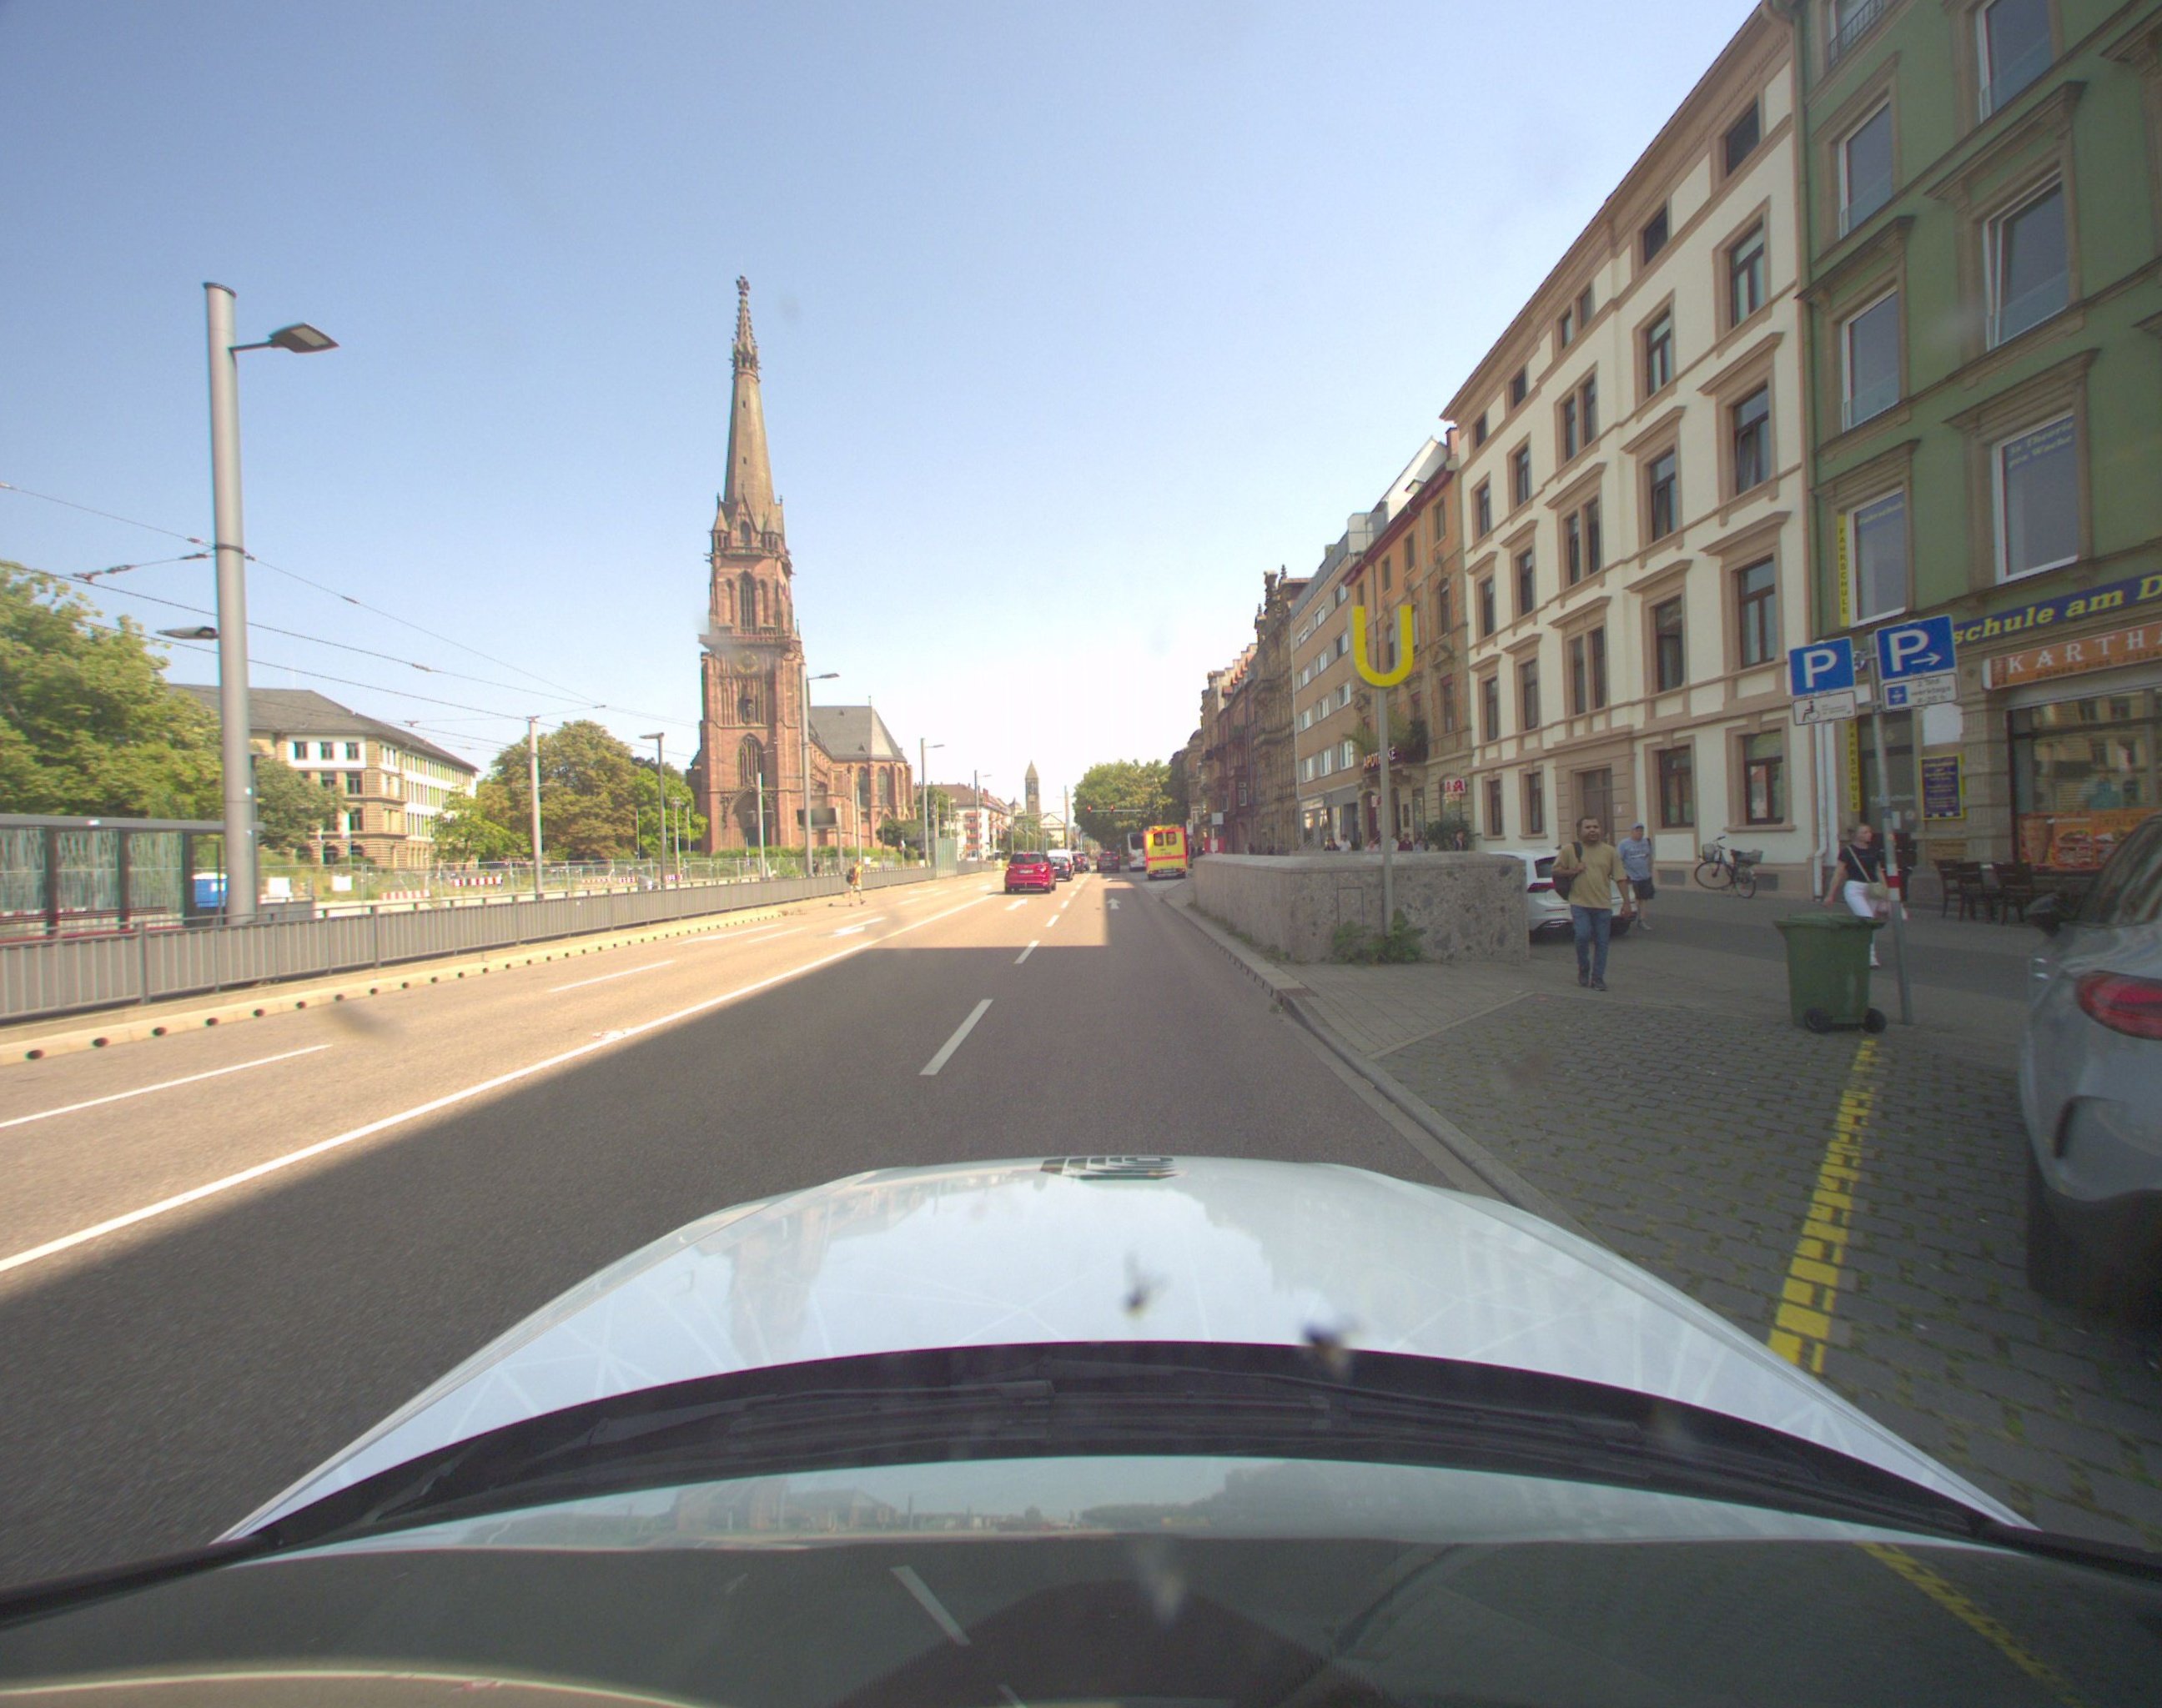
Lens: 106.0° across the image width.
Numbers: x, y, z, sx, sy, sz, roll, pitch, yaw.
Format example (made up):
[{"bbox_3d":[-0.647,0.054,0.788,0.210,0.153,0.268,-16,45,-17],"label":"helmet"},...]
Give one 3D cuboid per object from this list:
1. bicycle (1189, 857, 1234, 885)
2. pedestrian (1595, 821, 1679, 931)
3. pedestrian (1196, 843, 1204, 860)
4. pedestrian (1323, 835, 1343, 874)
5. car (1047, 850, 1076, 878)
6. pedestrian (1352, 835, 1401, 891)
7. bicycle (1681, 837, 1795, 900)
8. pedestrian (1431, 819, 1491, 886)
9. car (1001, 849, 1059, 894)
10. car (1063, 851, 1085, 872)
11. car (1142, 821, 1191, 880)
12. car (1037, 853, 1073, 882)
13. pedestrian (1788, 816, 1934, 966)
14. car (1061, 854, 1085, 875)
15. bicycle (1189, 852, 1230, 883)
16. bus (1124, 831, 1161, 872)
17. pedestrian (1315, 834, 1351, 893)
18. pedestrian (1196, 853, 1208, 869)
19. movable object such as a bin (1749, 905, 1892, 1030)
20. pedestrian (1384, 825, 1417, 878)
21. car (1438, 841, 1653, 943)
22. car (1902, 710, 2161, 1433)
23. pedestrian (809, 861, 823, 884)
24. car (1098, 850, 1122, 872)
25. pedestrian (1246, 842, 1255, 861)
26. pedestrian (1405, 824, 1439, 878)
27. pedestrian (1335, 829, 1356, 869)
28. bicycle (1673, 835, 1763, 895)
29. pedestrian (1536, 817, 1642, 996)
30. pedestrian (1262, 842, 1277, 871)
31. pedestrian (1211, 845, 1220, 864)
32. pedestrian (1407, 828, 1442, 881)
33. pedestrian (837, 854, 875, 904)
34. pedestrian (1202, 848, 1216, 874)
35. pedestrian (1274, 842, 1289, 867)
[{"bbox_3d":[5.316,0.677,33.272,1.768,1.072,0.645,-2,0,5],"label":"bicycle"},{"bbox_3d":[8.986,0.337,13.199,0.668,1.685,0.943,-3,0,2],"label":"pedestrian"},{"bbox_3d":[11.505,-0.237,78.829,0.694,1.667,1.065,-2,0,4],"label":"pedestrian"},{"bbox_3d":[11.608,0.033,37.533,0.575,1.750,0.679,-4,0,1],"label":"pedestrian"},{"bbox_3d":[-1.302,0.680,55.103,1.784,1.780,4.000,-2,-1,0],"label":"car"},{"bbox_3d":[8.557,0.256,23.585,0.856,1.582,0.961,-2,-1,-32],"label":"pedestrian"},{"bbox_3d":[13.414,0.250,16.740,0.478,1.146,2.474,-2,2,4],"label":"bicycle"},{"bbox_3d":[9.348,-0.030,20.054,0.856,1.582,0.961,-2,-1,-32],"label":"pedestrian"},{"bbox_3d":[-1.959,0.642,32.485,1.754,1.618,4.086,-2,0,4],"label":"car"},{"bbox_3d":[-0.565,0.673,70.894,1.784,1.698,4.000,-2,-1,0],"label":"car"},{"bbox_3d":[4.610,-0.194,44.158,2.288,2.888,5.608,-3,0,6],"label":"car"},{"bbox_3d":[-1.379,0.687,44.838,1.784,1.431,4.000,-2,0,0],"label":"car"},{"bbox_3d":[8.843,0.394,9.251,0.856,1.582,0.961,-2,-1,-32],"label":"pedestrian"},{"bbox_3d":[-0.597,0.820,63.231,1.784,1.472,4.000,-2,-1,0],"label":"car"},{"bbox_3d":[5.367,0.554,34.034,1.665,1.215,0.645,-2,0,7],"label":"bicycle"},{"bbox_3d":[5.032,-0.183,68.972,2.524,3.031,12.441,-2,0,2],"label":"bus"},{"bbox_3d":[7.805,0.280,25.227,0.845,1.728,0.973,-3,2,8],"label":"pedestrian"},{"bbox_3d":[14.062,0.837,94.708,1.244,1.751,1.527,-2,2,2],"label":"pedestrian"},{"bbox_3d":[6.028,0.902,6.671,0.535,0.916,0.699,1,0,-1],"label":"movable object such as a bin"},{"bbox_3d":[10.968,-0.105,27.986,0.681,1.773,1.018,-2,1,1],"label":"pedestrian"},{"bbox_3d":[7.627,0.530,13.790,1.625,1.440,3.621,-2,1,2],"label":"car"},{"bbox_3d":[4.719,0.427,2.979,4.690,1.713,2.020,-3,0,-40],"label":"car"},{"bbox_3d":[-20.641,1.438,63.422,0.826,1.752,0.721,-2,-1,2],"label":"pedestrian"},{"bbox_3d":[2.255,0.555,64.765,1.784,1.677,4.000,-2,-1,0],"label":"car"},{"bbox_3d":[14.839,-0.197,71.320,0.621,1.593,0.695,-2,0,-4],"label":"pedestrian"},{"bbox_3d":[11.716,-0.109,28.009,0.681,1.773,1.018,-2,1,1],"label":"pedestrian"},{"bbox_3d":[12.169,-0.221,37.478,0.597,1.795,0.880,-4,0,2],"label":"pedestrian"},{"bbox_3d":[13.396,0.226,17.182,0.456,1.184,1.848,-2,0,2],"label":"bicycle"},{"bbox_3d":[5.290,0.494,8.536,0.858,1.751,0.878,1,2,29],"label":"pedestrian"},{"bbox_3d":[11.207,0.170,48.469,0.641,1.685,0.789,-2,0,1],"label":"pedestrian"},{"bbox_3d":[11.824,0.014,71.746,0.694,1.667,0.603,-2,0,3],"label":"pedestrian"},{"bbox_3d":[12.392,0.029,29.398,0.840,1.846,0.684,-4,0,-8],"label":"pedestrian"},{"bbox_3d":[-8.161,0.906,29.535,0.754,1.752,1.075,-3,-1,25],"label":"pedestrian"},{"bbox_3d":[8.385,0.474,53.256,0.690,1.667,0.606,-2,0,27],"label":"pedestrian"},{"bbox_3d":[11.920,0.032,48.434,0.641,1.493,0.789,-2,0,1],"label":"pedestrian"}]
